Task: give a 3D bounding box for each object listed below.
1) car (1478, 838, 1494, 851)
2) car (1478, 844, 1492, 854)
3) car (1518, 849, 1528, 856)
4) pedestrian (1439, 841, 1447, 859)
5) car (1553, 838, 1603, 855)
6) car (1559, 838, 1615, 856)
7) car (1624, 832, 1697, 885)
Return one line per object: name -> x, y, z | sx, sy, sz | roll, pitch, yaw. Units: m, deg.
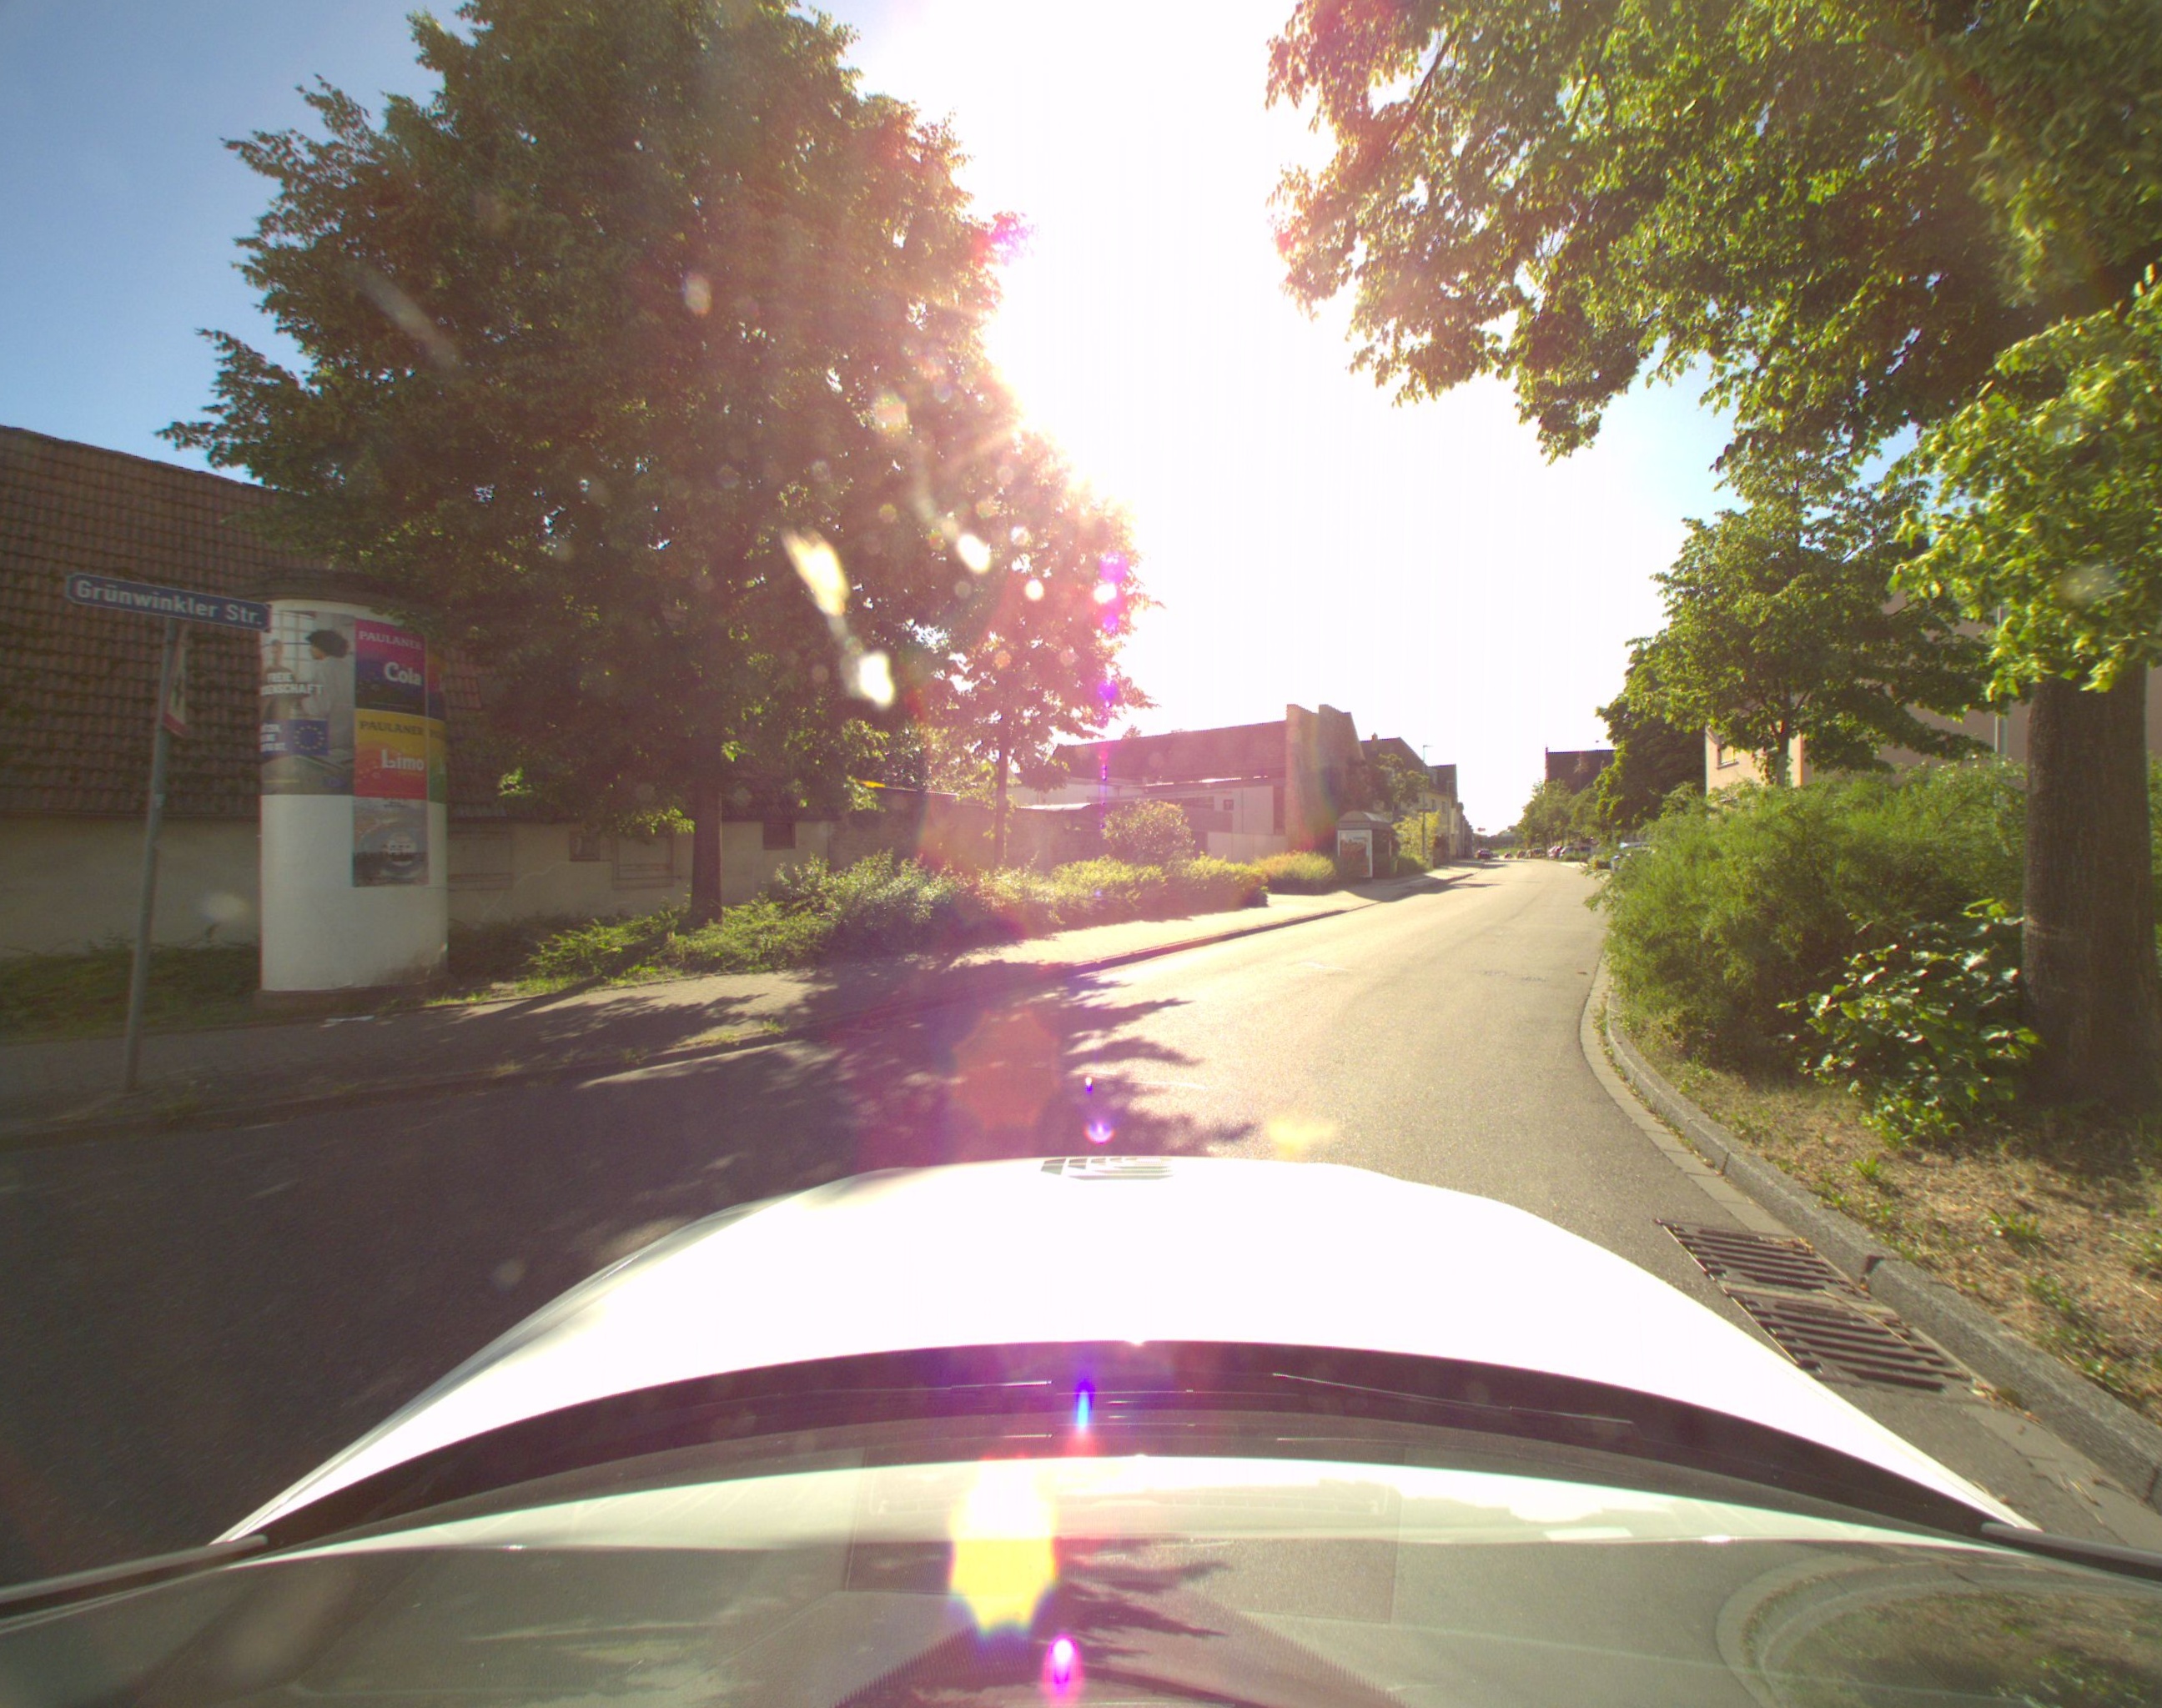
car -> 47.660, -1.127, 95.846 | 1.599, 1.474, 4.024 | 1, 1, 26
car -> 62.419, -0.821, 125.768 | 1.891, 1.474, 4.024 | 1, 1, 26
car -> 106.357, -0.390, 195.916 | 1.891, 1.474, 4.024 | 1, 1, 26
pedestrian -> 26.453, -0.280, 59.537 | 0.397, 1.347, 0.445 | -1, 0, 34
car -> 49.613, -0.756, 81.349 | 3.954, 1.564, 1.924 | 1, 1, 19
car -> 44.903, -0.662, 72.333 | 3.954, 1.564, 1.924 | 1, 1, 19
car -> 19.597, 0.111, 27.600 | 1.889, 1.675, 4.026 | 0, 1, 35
